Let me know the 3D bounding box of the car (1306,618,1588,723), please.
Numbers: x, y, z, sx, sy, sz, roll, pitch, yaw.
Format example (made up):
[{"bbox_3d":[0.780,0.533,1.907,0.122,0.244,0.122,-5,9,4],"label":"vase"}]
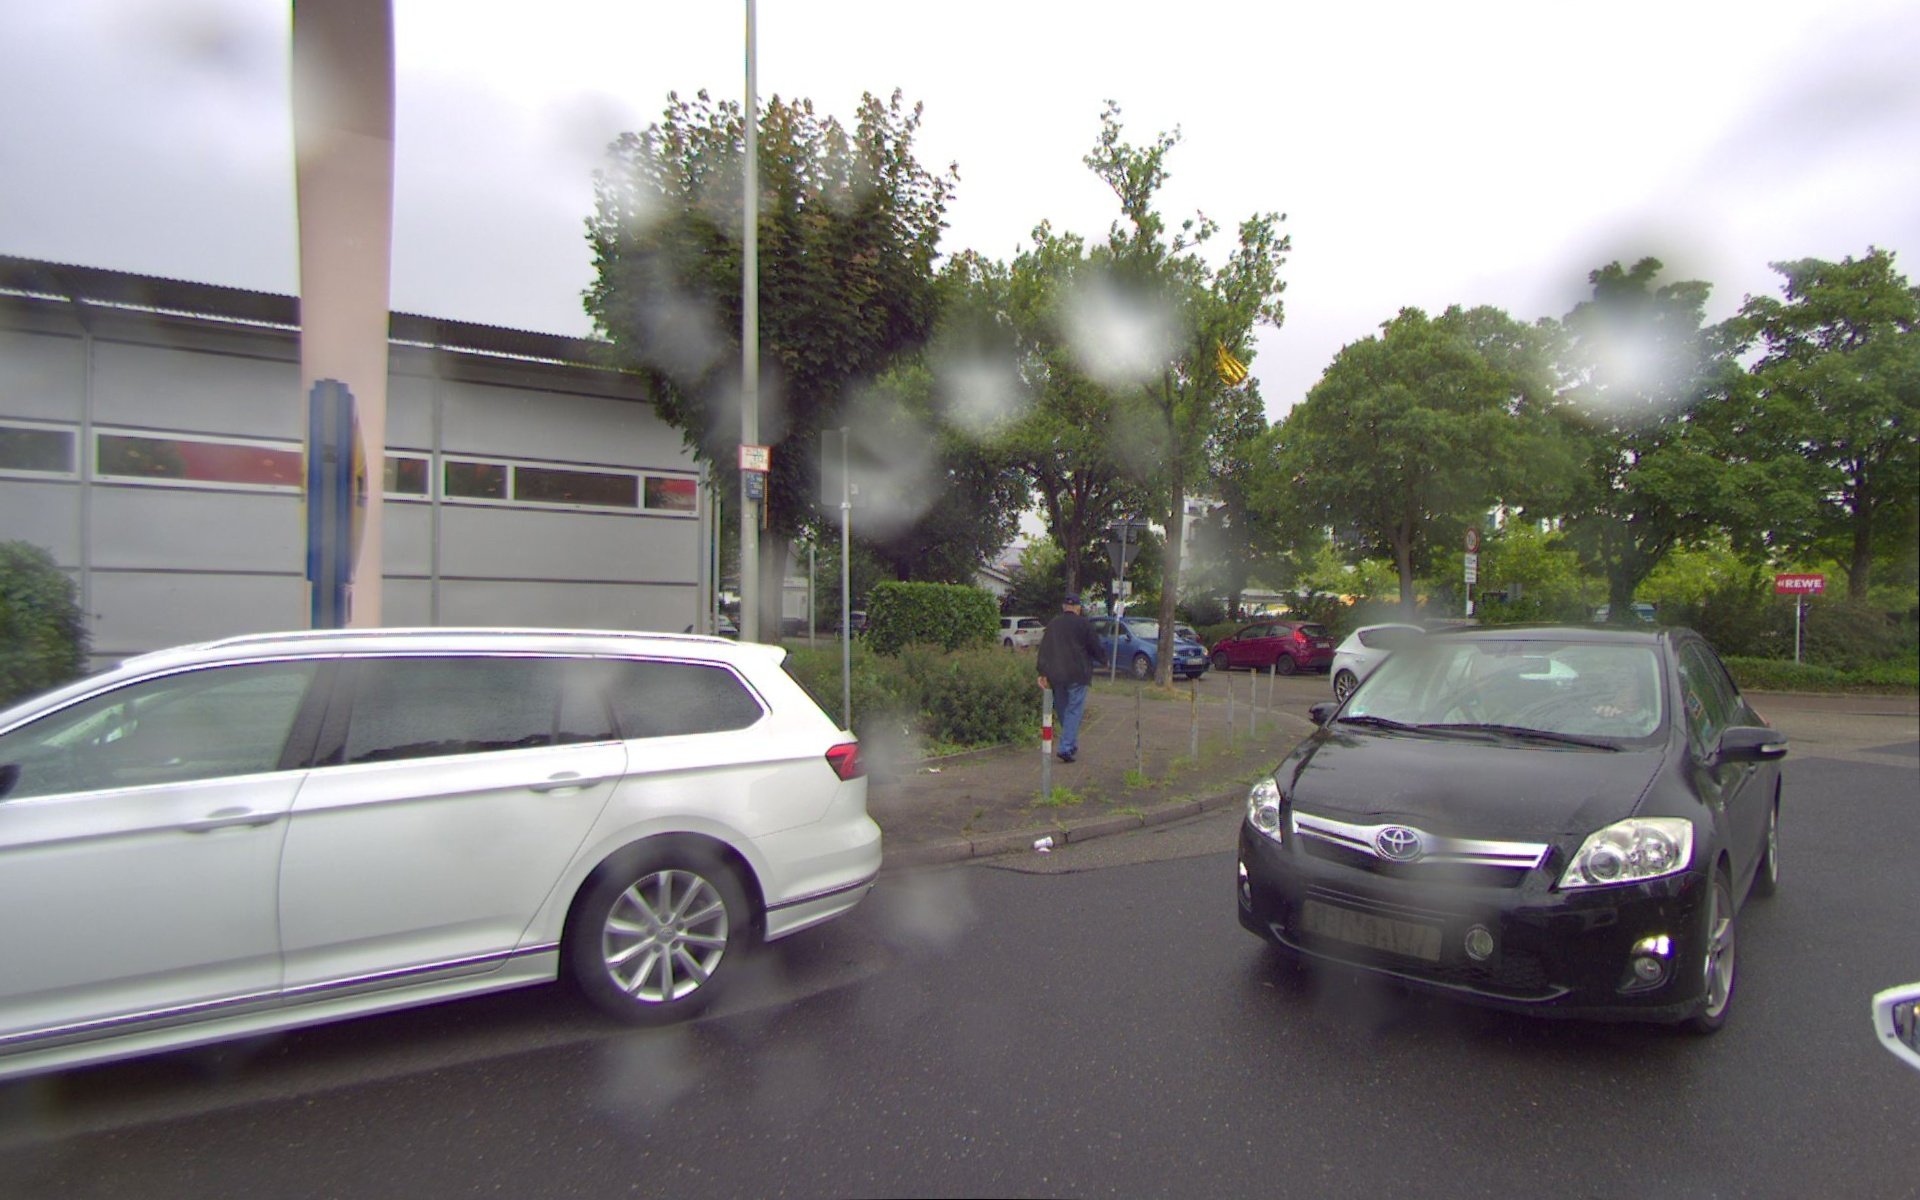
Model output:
[{"bbox_3d":[7.571,1.028,16.074,1.711,1.460,3.980,0,-1,-21],"label":"car"}]

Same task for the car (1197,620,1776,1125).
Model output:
[{"bbox_3d":[2.887,0.836,4.992,1.711,1.460,3.980,-1,-2,41],"label":"car"}]

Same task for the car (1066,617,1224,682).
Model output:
[{"bbox_3d":[4.447,1.158,24.740,1.715,1.460,3.970,1,-1,-29],"label":"car"}]

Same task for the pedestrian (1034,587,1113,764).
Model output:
[{"bbox_3d":[1.143,0.732,10.090,0.743,1.696,0.783,1,-1,6],"label":"pedestrian"}]

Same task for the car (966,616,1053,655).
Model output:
[{"bbox_3d":[1.953,1.409,40.603,1.715,1.460,3.970,1,-1,-29],"label":"car"}]

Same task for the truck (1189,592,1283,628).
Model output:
[{"bbox_3d":[17.205,0.666,62.489,6.064,2.087,1.983,1,-1,-31],"label":"truck"}]

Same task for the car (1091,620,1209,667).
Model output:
[{"bbox_3d":[6.151,1.387,32.929,1.715,1.460,3.970,1,-1,-29],"label":"car"}]

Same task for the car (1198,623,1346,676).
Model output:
[{"bbox_3d":[8.761,1.354,28.540,1.715,1.381,3.970,1,-1,-29],"label":"car"}]

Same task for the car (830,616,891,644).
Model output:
[{"bbox_3d":[-5.173,1.534,51.843,1.715,1.401,4.066,1,-1,-29],"label":"car"}]

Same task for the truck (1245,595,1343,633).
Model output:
[{"bbox_3d":[19.513,0.869,58.606,6.064,2.122,1.983,1,-1,-31],"label":"truck"}]

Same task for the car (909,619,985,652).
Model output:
[{"bbox_3d":[-0.642,1.558,44.789,1.715,1.401,4.066,1,-1,-29],"label":"car"}]

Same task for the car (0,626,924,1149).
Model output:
[{"bbox_3d":[-2.518,0.841,3.946,4.437,1.453,1.828,1,-2,-29],"label":"car"}]

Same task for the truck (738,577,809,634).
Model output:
[{"bbox_3d":[-12.349,0.408,66.024,2.572,3.515,6.762,1,-1,-29],"label":"truck"}]

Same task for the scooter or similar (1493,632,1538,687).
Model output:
[{"bbox_3d":[12.427,1.325,22.468,1.044,1.191,0.283,1,-1,-22],"label":"scooter or similar"}]

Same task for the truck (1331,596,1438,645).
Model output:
[{"bbox_3d":[23.884,1.177,56.427,6.315,2.636,1.986,1,-1,-28],"label":"truck"}]
